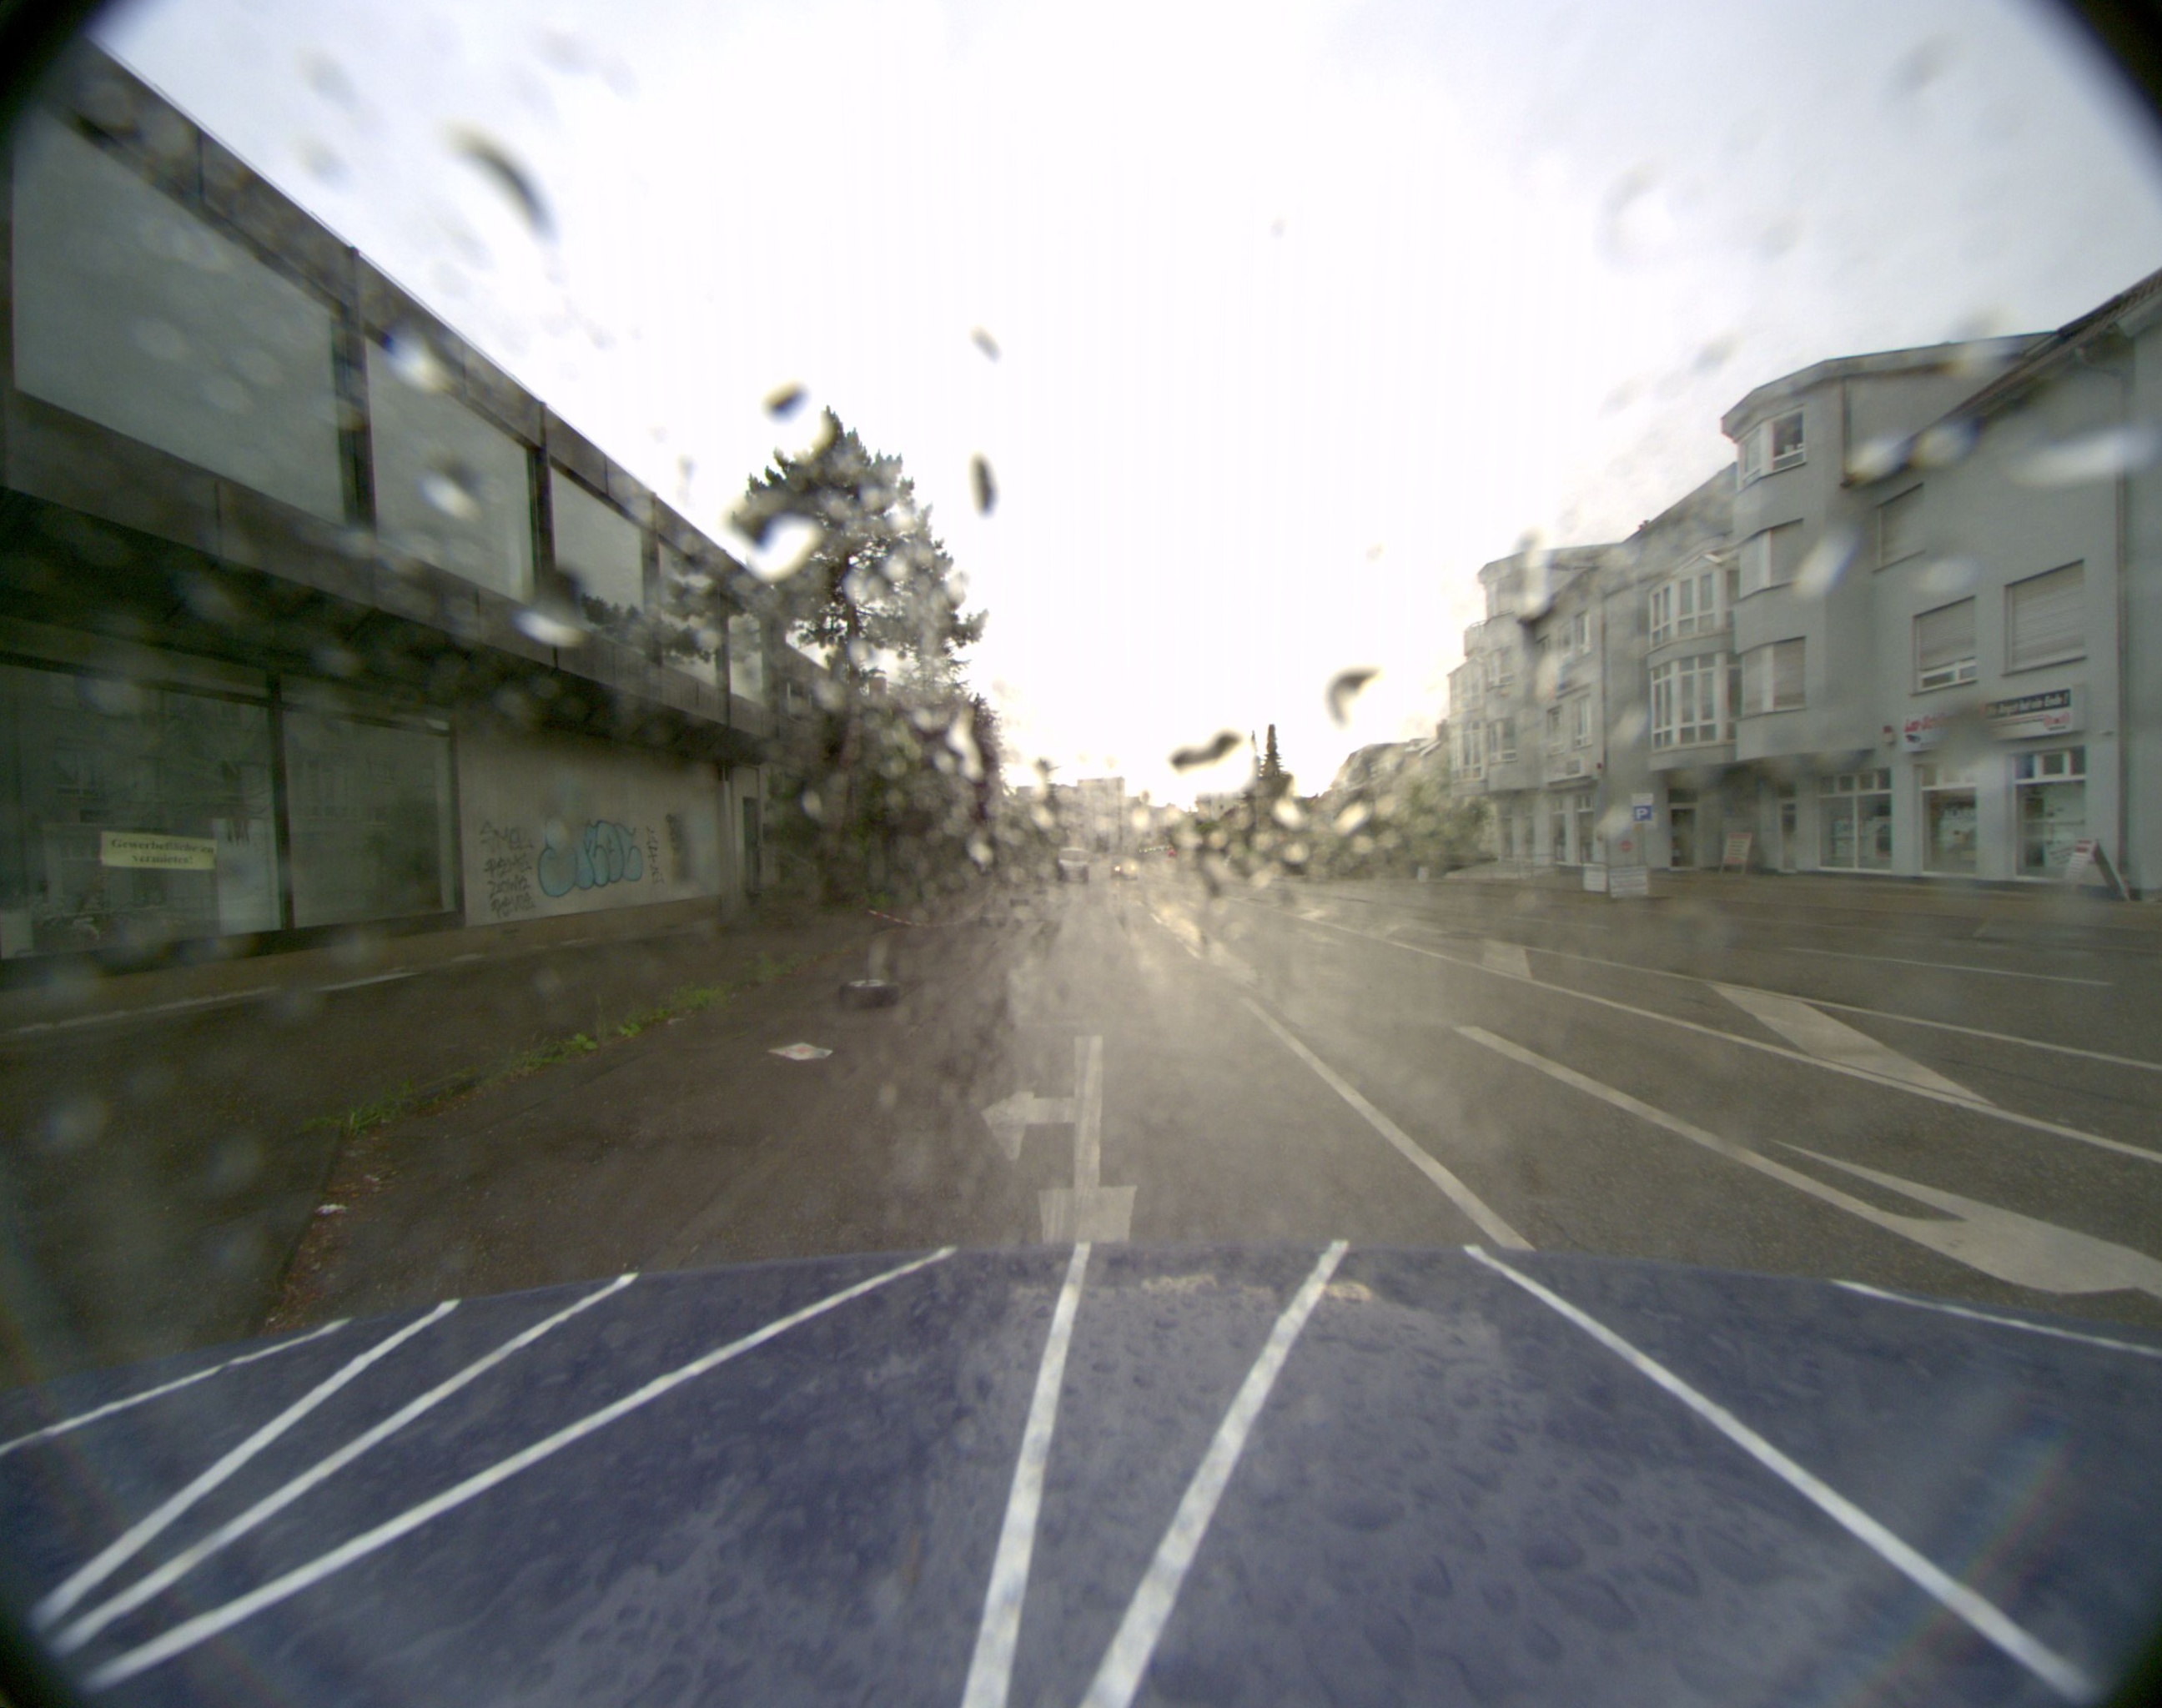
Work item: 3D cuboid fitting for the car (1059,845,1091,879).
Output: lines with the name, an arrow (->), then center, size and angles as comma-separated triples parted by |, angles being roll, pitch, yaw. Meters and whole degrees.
car -> -0.345, 0.471, 50.421 | 1.998, 2.072, 3.999 | -2, 1, 1

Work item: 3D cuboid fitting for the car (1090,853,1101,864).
car -> 2.417, 0.783, 130.920 | 1.803, 1.675, 3.999 | -2, 1, 1

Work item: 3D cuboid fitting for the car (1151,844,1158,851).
car -> 22.054, -1.951, 228.139 | 1.997, 1.723, 4.002 | -2, 1, 9

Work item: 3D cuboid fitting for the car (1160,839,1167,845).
car -> 25.729, -3.682, 237.222 | 1.998, 1.774, 4.000 | -2, 1, 3

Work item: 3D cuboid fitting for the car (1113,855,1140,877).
car -> 3.396, 0.852, 56.981 | 1.754, 1.534, 4.676 | -1, 1, 1
